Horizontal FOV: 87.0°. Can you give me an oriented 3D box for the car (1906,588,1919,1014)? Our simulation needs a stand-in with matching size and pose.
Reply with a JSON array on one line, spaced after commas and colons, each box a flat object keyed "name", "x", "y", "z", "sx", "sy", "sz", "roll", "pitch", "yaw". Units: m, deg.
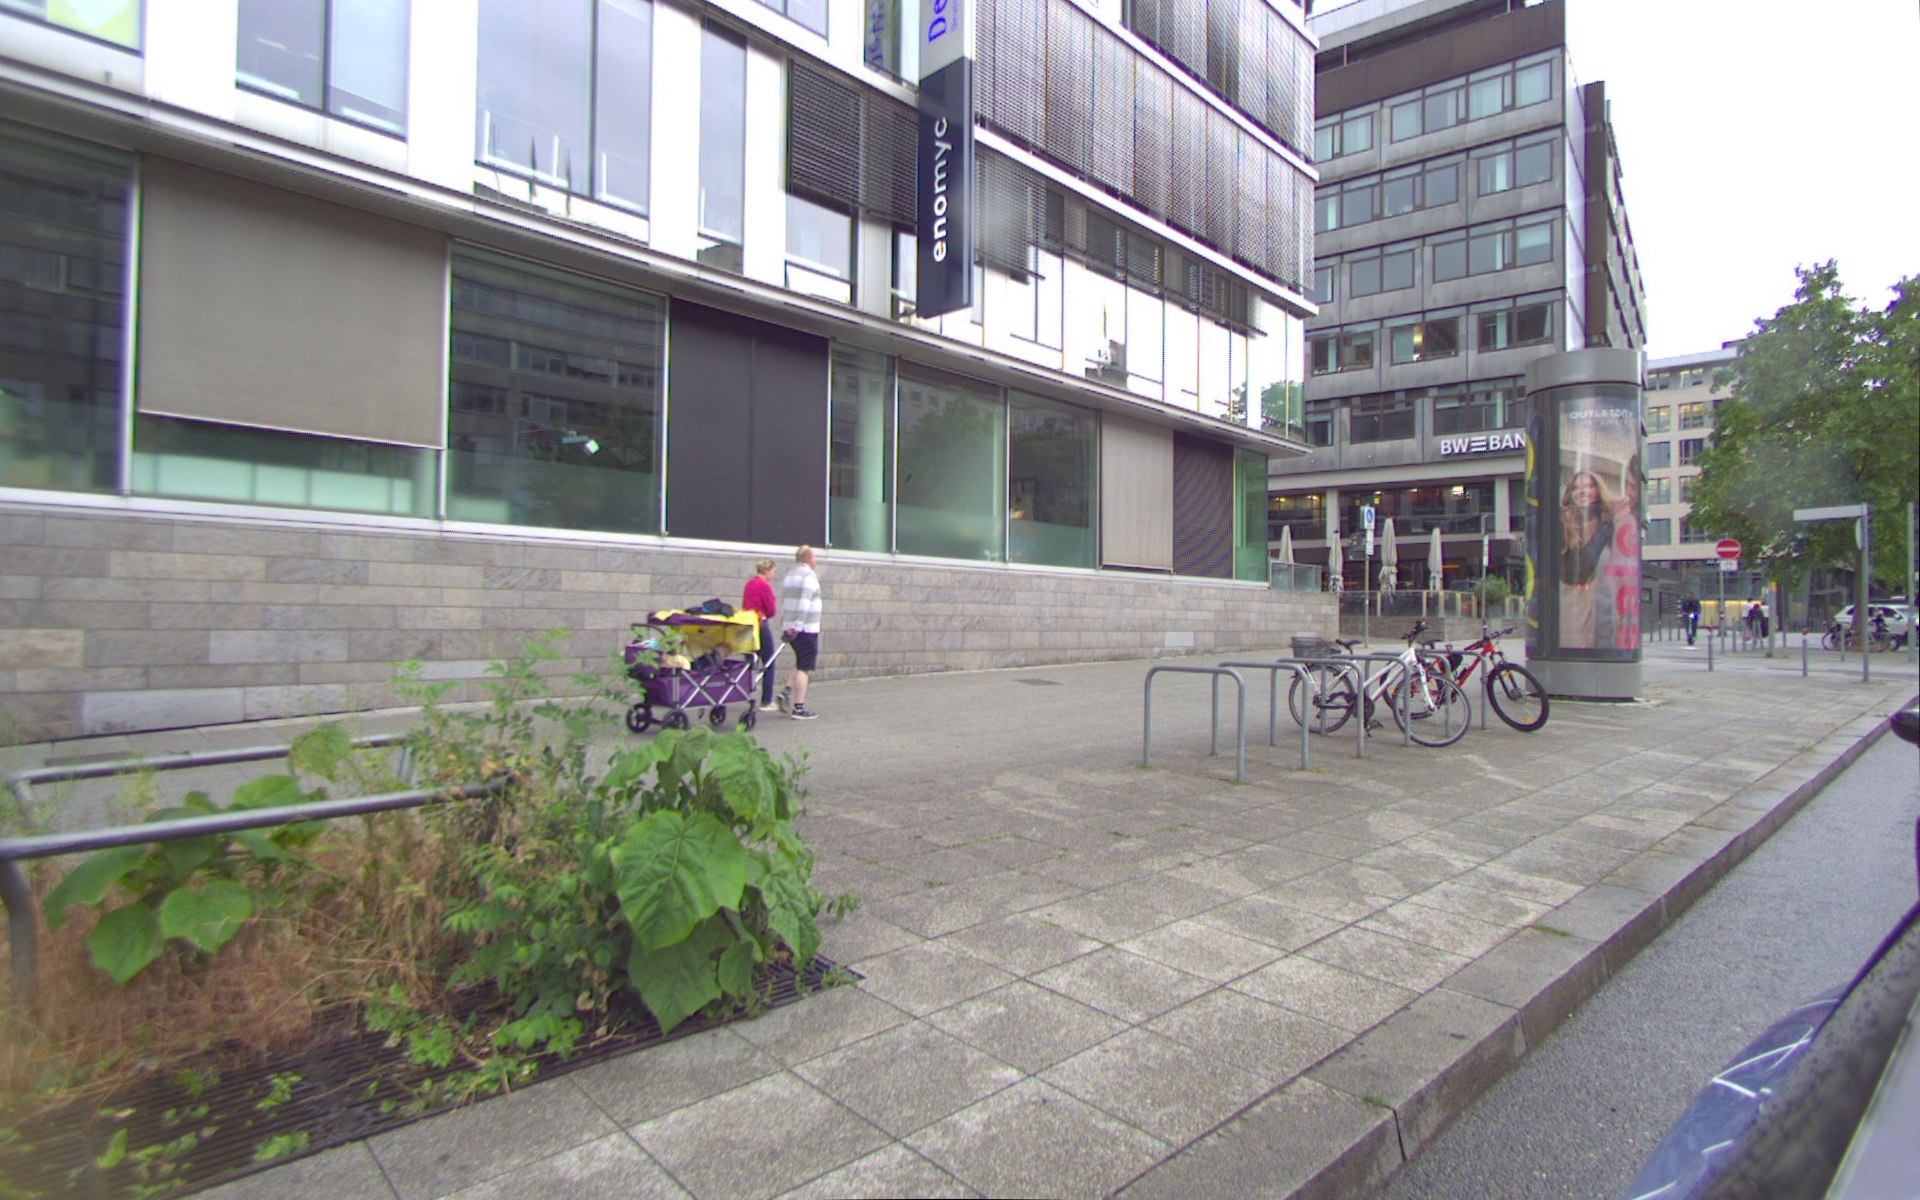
[{"name": "car", "x": 5.296, "y": 0.710, "z": 4.319, "sx": 3.647, "sy": 1.529, "sz": 1.592, "roll": 0, "pitch": -1, "yaw": -43}]

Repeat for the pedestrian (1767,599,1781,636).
[{"name": "pedestrian", "x": 39.207, "y": 0.837, "z": 48.755, "sx": 0.488, "sy": 1.723, "sz": 0.451, "roll": 0, "pitch": 0, "yaw": -43}]

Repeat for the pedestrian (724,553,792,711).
[{"name": "pedestrian", "x": -2.270, "y": 0.342, "z": 11.382, "sx": 0.484, "sy": 1.720, "sz": 0.570, "roll": 1, "pitch": 1, "yaw": 44}]

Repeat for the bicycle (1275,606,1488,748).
[{"name": "bicycle", "x": 4.062, "y": 0.691, "z": 9.832, "sx": 1.789, "sy": 1.222, "sz": 0.660, "roll": 1, "pitch": 0, "yaw": 40}]

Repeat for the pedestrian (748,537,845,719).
[{"name": "pedestrian", "x": -1.746, "y": 0.277, "z": 10.825, "sx": 0.722, "sy": 1.853, "sz": 0.735, "roll": 1, "pitch": 1, "yaw": 44}]

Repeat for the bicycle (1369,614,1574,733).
[{"name": "bicycle", "x": 5.501, "y": 0.742, "z": 10.977, "sx": 0.658, "sy": 1.124, "sz": 1.873, "roll": 1, "pitch": 0, "yaw": -43}]

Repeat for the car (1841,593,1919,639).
[{"name": "car", "x": 38.829, "y": 0.650, "z": 41.093, "sx": 1.959, "sy": 1.836, "sz": 4.218, "roll": -1, "pitch": -2, "yaw": -10}]

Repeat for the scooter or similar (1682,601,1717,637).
[{"name": "scooter or similar", "x": 27.636, "y": 0.694, "z": 37.803, "sx": 1.311, "sy": 1.322, "sz": 0.779, "roll": 0, "pitch": -1, "yaw": -41}]

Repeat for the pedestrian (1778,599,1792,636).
[{"name": "pedestrian", "x": 39.529, "y": 0.838, "z": 48.492, "sx": 0.488, "sy": 1.723, "sz": 0.451, "roll": 0, "pitch": 0, "yaw": -43}]

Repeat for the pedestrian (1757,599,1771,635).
[{"name": "pedestrian", "x": 38.919, "y": 0.837, "z": 48.965, "sx": 0.538, "sy": 1.723, "sz": 0.451, "roll": 0, "pitch": 0, "yaw": -43}]

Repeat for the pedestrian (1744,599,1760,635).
[{"name": "pedestrian", "x": 38.570, "y": 0.835, "z": 49.298, "sx": 0.538, "sy": 1.723, "sz": 0.551, "roll": 0, "pitch": 0, "yaw": -43}]

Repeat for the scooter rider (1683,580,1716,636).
[{"name": "scooter rider", "x": 27.607, "y": 0.283, "z": 37.781, "sx": 0.908, "sy": 2.047, "sz": 0.779, "roll": 0, "pitch": -1, "yaw": -41}]

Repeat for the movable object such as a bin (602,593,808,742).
[{"name": "movable object such as a bin", "x": -2.414, "y": 0.581, "z": 9.724, "sx": 0.802, "sy": 1.281, "sz": 1.760, "roll": 1, "pitch": 1, "yaw": 44}]
